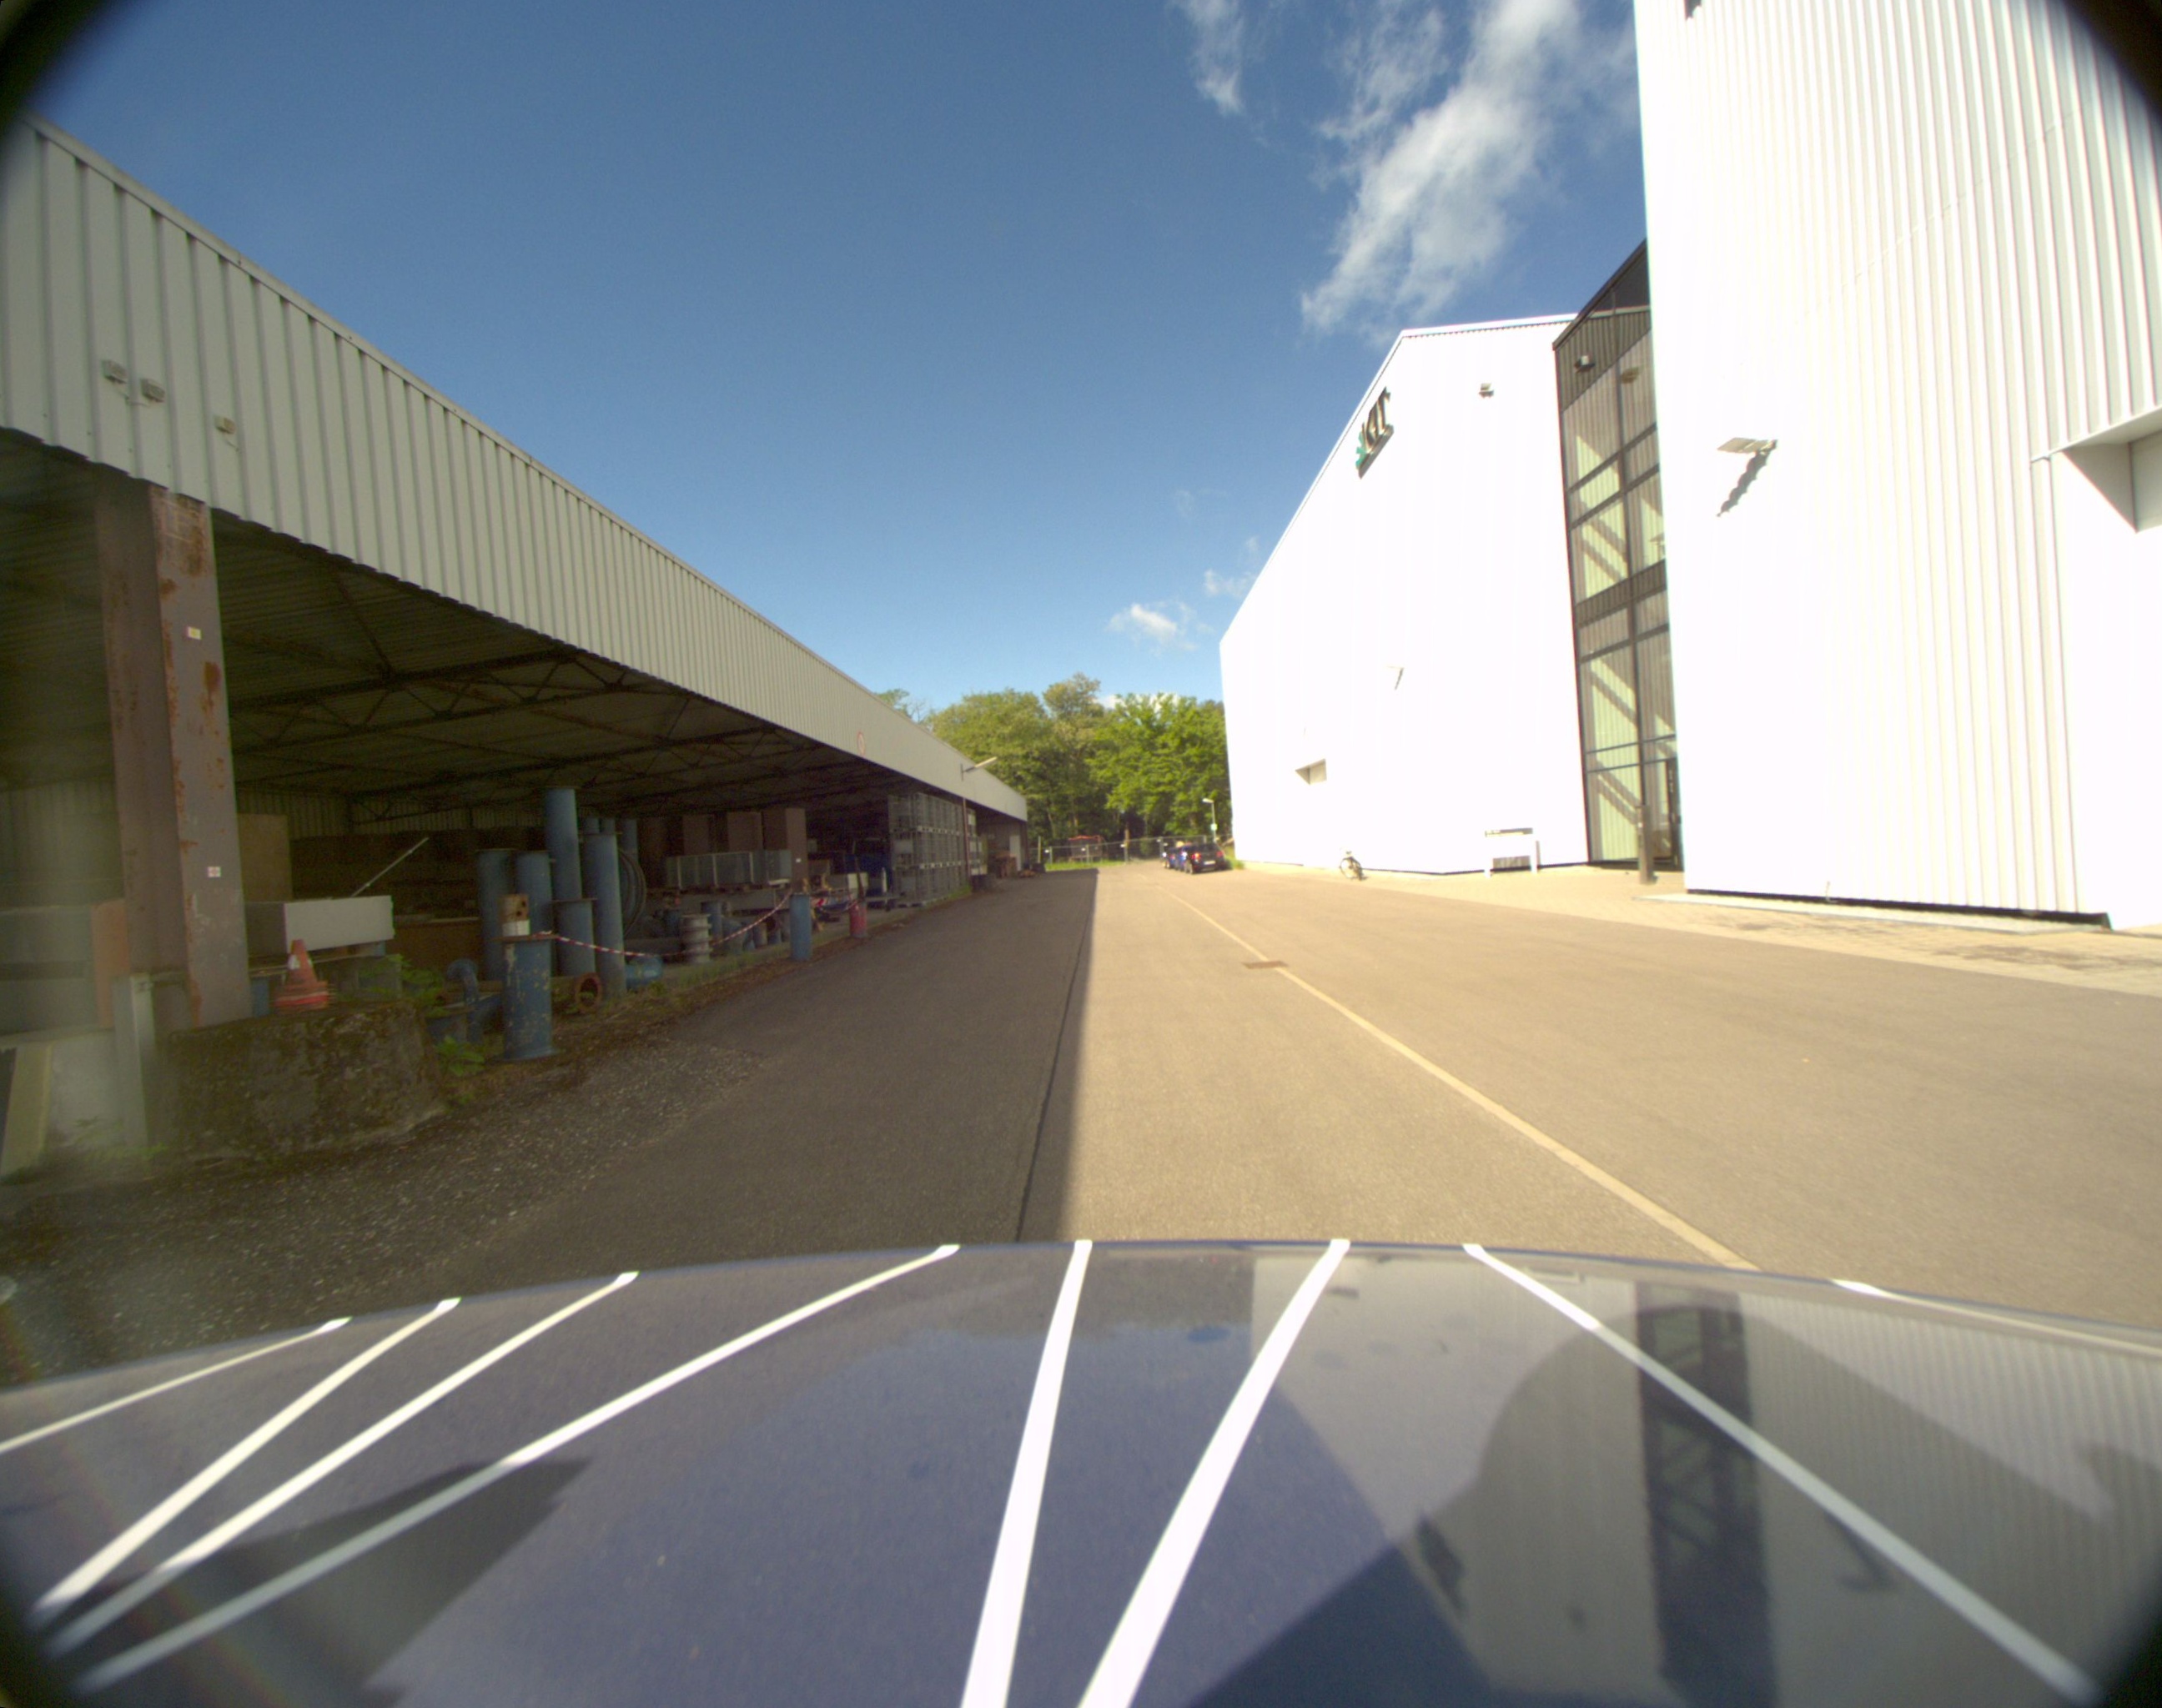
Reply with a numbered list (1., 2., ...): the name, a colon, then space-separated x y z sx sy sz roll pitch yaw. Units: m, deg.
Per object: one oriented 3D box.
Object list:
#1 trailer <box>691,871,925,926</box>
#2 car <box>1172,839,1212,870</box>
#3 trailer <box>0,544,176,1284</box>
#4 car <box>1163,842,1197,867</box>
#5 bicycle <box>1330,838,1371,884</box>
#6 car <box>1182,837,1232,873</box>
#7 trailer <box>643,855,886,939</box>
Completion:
1. trailer: -7.604 1.219 21.564 5.837 1.113 2.029 -3 0 0
2. car: 6.331 0.007 43.732 1.789 1.513 4.000 -7 1 3
3. trailer: -9.729 0.527 2.499 10.062 3.197 2.853 -3 1 1
4. car: 6.366 -0.007 49.167 1.789 1.432 4.000 -3 1 3
5. bicycle: 7.963 0.183 22.515 0.909 1.136 1.901 -7 1 17
6. car: 6.324 0.036 38.479 1.895 1.513 4.000 -7 1 3
7. trailer: -7.422 0.976 18.206 4.879 1.619 2.029 -3 1 0
